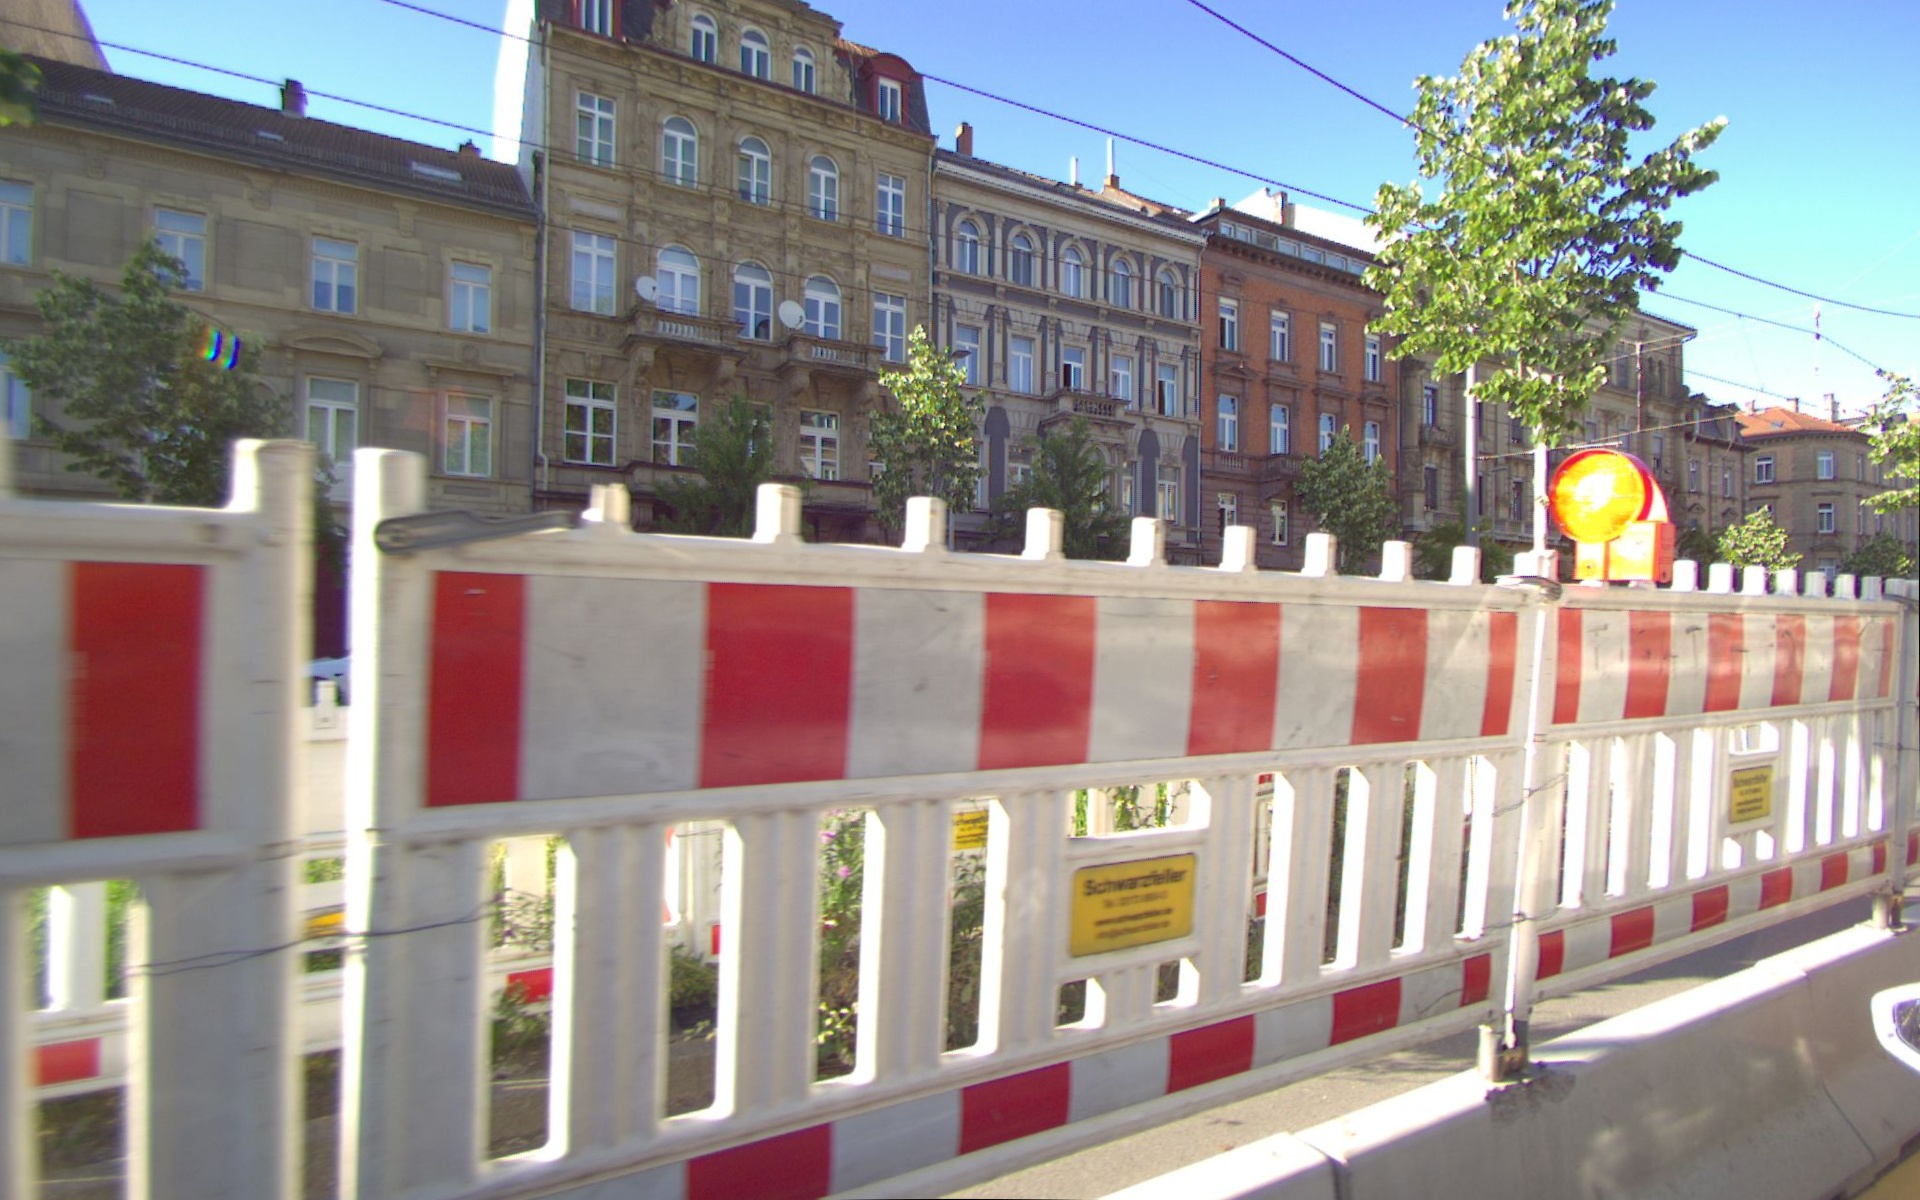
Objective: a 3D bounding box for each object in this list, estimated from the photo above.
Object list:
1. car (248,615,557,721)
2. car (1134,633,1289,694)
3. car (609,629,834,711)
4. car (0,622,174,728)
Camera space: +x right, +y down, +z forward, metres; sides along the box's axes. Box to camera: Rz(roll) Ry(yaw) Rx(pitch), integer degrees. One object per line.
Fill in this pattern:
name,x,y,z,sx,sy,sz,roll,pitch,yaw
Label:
car,-10.358,1.231,18.968,4.833,1.720,1.983,2,0,-31
car,7.769,1.935,30.947,4.489,1.680,1.930,2,0,-29
car,-5.197,1.490,22.054,4.399,1.573,1.983,2,0,-31
car,-15.717,1.147,15.848,4.926,1.558,1.984,2,0,-30
